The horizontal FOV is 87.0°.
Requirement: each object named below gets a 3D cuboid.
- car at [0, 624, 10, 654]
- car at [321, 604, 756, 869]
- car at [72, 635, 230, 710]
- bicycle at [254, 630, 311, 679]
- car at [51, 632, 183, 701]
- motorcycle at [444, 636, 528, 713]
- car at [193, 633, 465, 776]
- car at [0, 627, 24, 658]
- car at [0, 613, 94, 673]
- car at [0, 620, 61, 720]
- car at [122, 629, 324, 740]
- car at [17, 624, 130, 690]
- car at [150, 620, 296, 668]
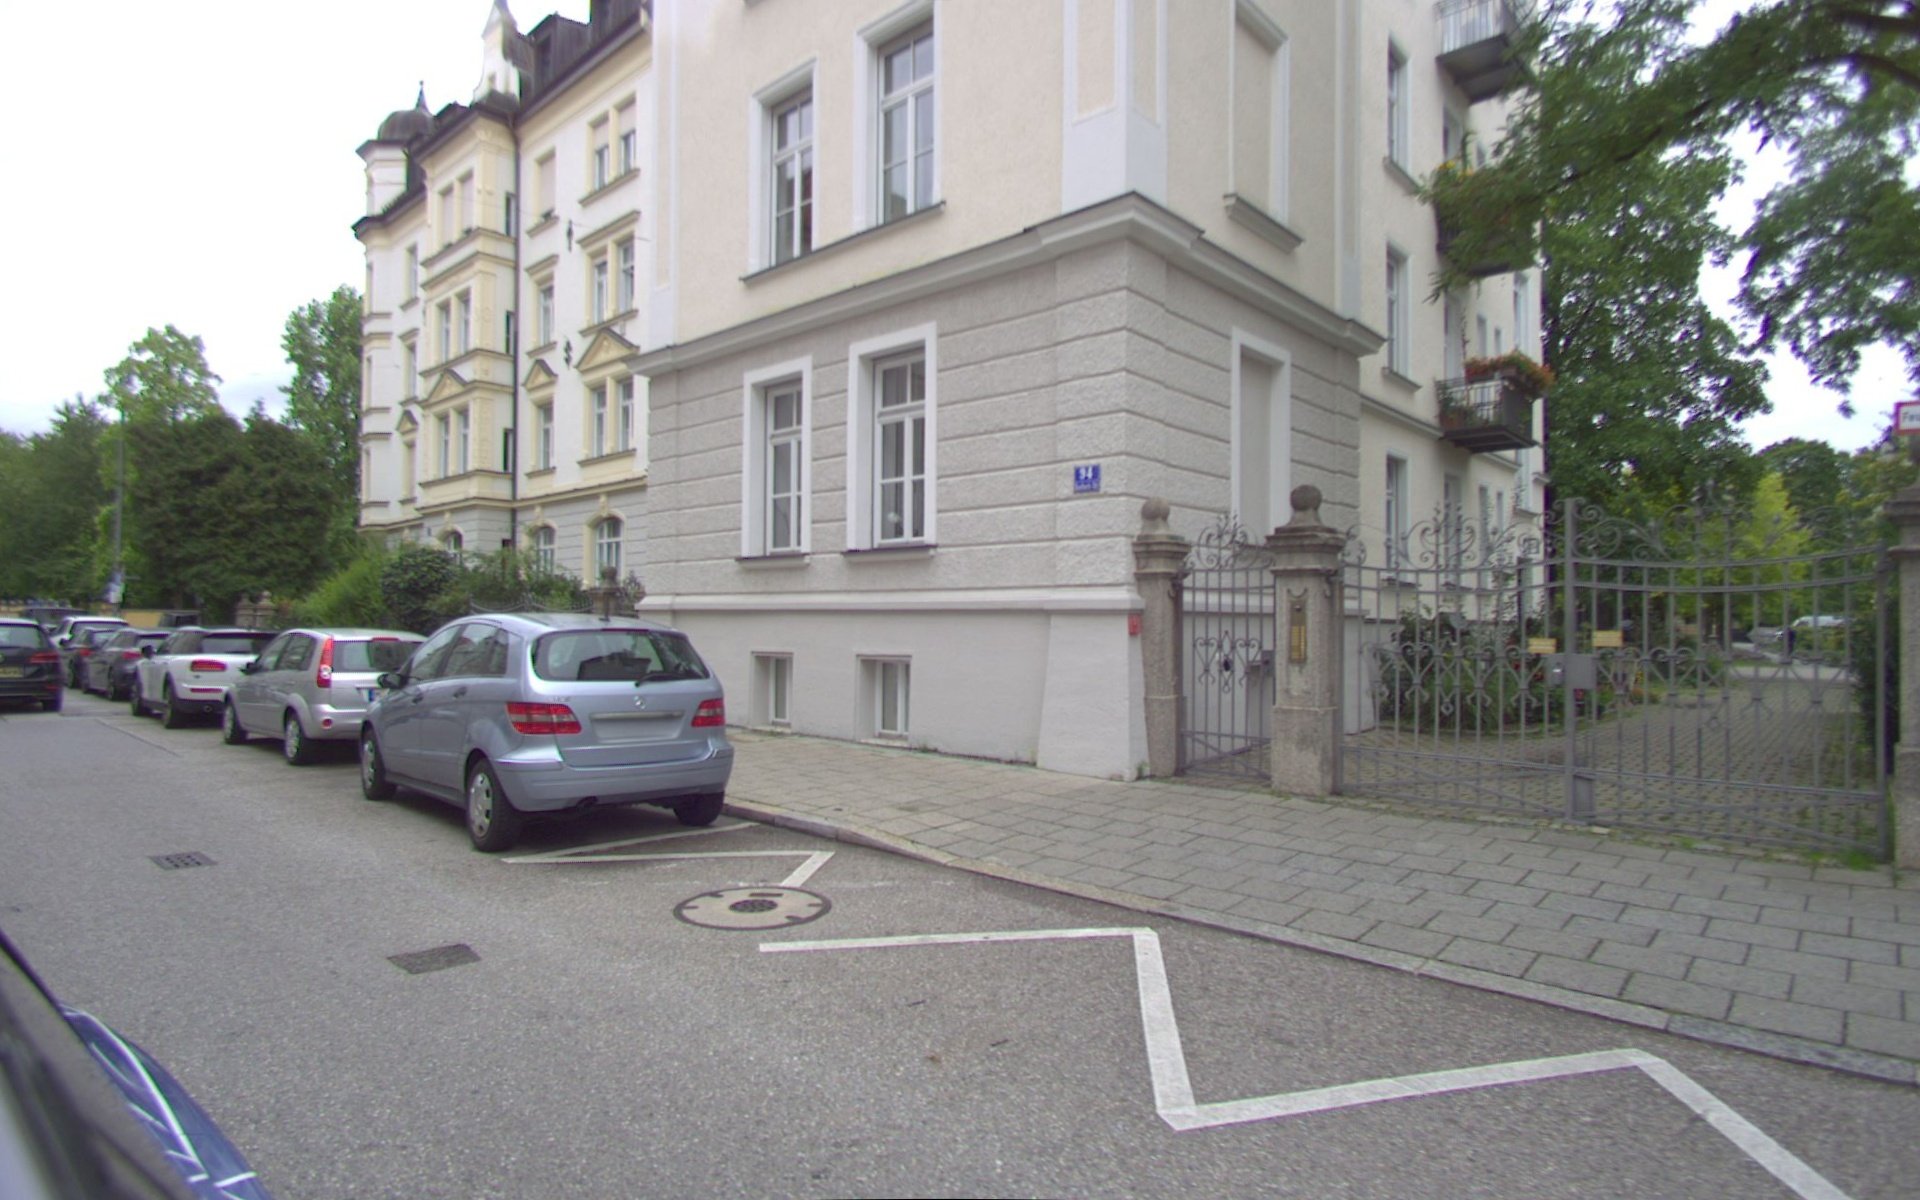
[{"bbox_3d":[-51.753,2.047,53.584,3.929,1.573,1.682,-2,-3,42],"label":"car"},{"bbox_3d":[-3.546,0.922,8.124,4.062,1.593,1.677,-2,-5,44],"label":"car"},{"bbox_3d":[-16.603,1.421,20.709,4.190,1.375,1.717,-2,-4,41],"label":"car"},{"bbox_3d":[-18.784,1.488,28.044,2.531,1.307,0.747,-2,-4,44],"label":"bicycle"},{"bbox_3d":[-20.004,1.503,23.976,3.998,1.431,1.750,0,-2,41],"label":"car"},{"bbox_3d":[-8.468,1.293,18.049,1.820,1.259,0.697,0,0,42],"label":"motorcycle"},{"bbox_3d":[-7.689,1.148,12.194,3.998,1.414,1.627,-1,-4,41],"label":"car"},{"bbox_3d":[-47.888,2.090,50.212,3.954,1.504,1.682,-2,-3,42],"label":"car"},{"bbox_3d":[-30.943,1.422,34.245,4.817,1.901,1.891,-1,-3,43],"label":"car"},{"bbox_3d":[-16.550,1.150,16.965,4.084,1.545,1.706,-3,-4,42],"label":"car"},{"bbox_3d":[-11.449,1.196,15.620,4.080,1.446,1.777,-1,-2,43],"label":"car"},{"bbox_3d":[-24.151,1.510,27.528,4.485,1.661,1.786,-2,-4,43],"label":"car"},{"bbox_3d":[-30.469,1.778,41.937,2.051,1.872,4.466,-1,-2,36],"label":"car"}]
